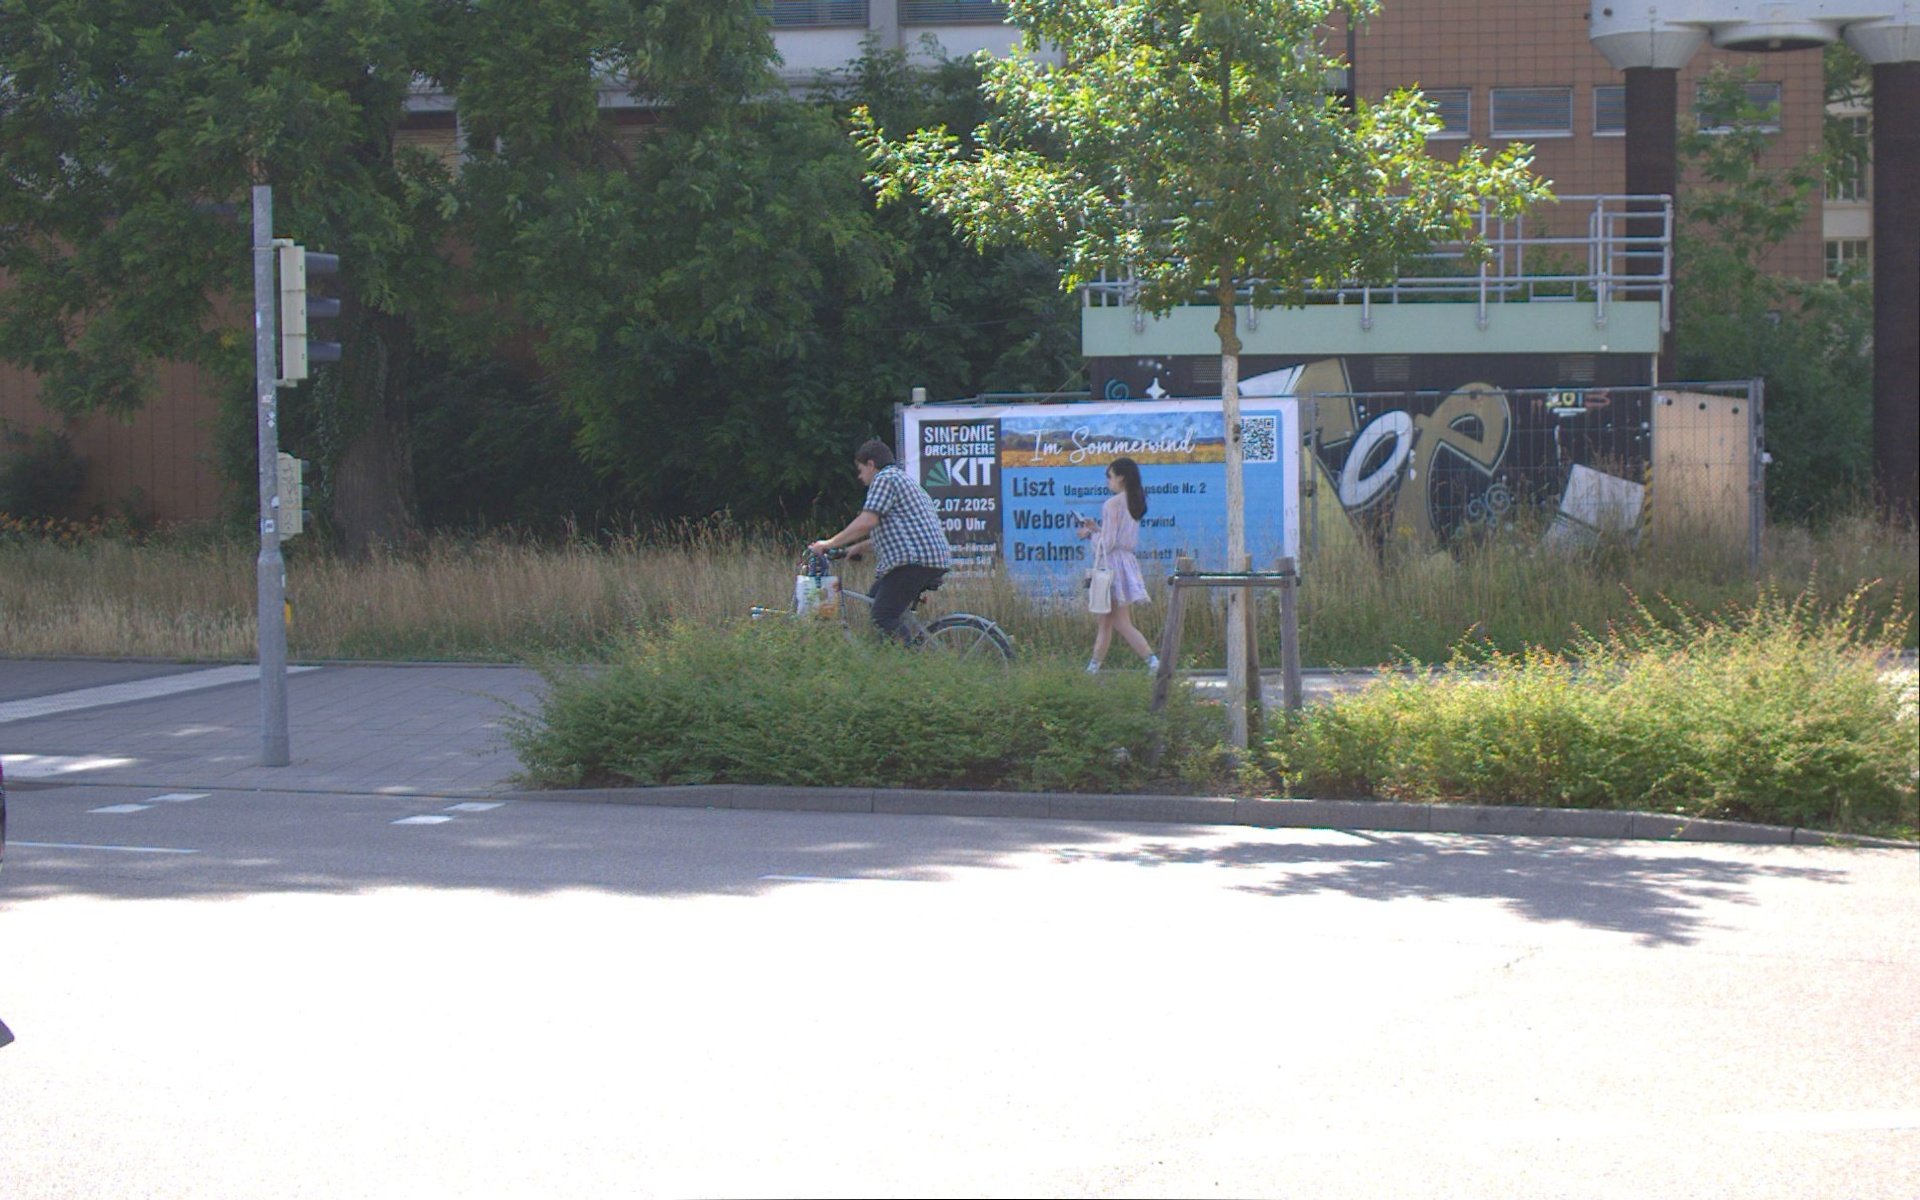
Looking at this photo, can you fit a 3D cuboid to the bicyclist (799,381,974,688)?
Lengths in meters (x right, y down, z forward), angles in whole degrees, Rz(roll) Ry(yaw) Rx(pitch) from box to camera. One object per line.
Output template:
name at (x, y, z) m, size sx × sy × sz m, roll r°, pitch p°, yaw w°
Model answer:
bicyclist at (-0.453, -0.412, 21.486) m, size 0.857 × 1.872 × 0.687 m, roll -1°, pitch 2°, yaw 19°

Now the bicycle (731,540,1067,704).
bicycle at (-0.379, 0.140, 21.508) m, size 1.953 × 0.943 × 0.694 m, roll -1°, pitch 2°, yaw 18°

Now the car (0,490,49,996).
car at (-4.857, 0.429, 11.900) m, size 1.859 × 1.524 × 4.713 m, roll -3°, pitch 2°, yaw -33°

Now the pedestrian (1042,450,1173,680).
pedestrian at (1.032, -0.253, 23.982) m, size 0.811 × 1.574 × 0.692 m, roll 0°, pitch 2°, yaw 11°
